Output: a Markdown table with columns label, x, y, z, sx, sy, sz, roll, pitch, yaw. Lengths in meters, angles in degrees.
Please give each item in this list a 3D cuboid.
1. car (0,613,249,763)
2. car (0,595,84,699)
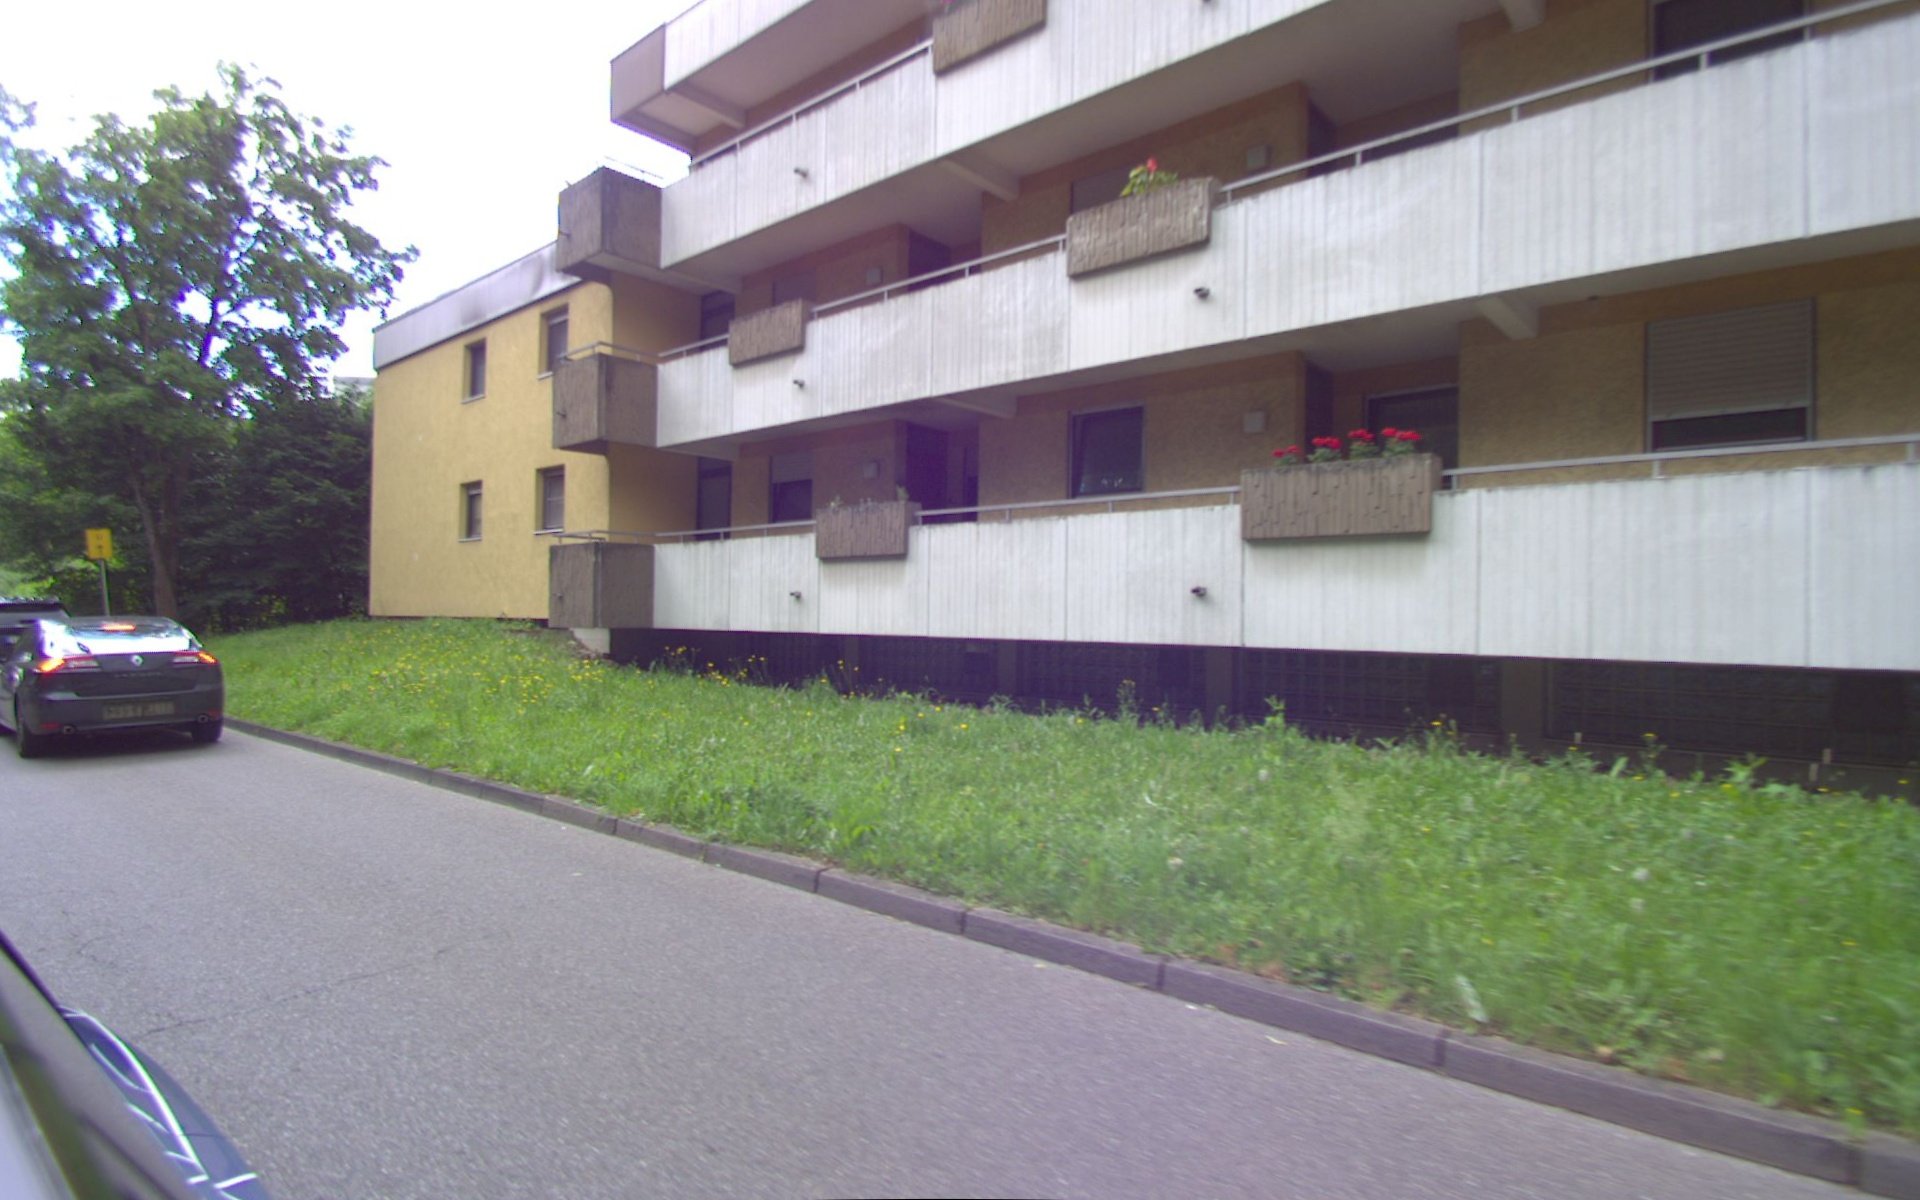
| label | x | y | z | sx | sy | sz | roll | pitch | yaw |
| --- | --- | --- | --- | --- | --- | --- | --- | --- | --- |
| car | -10.046 | 0.864 | 11.776 | 4.421 | 1.422 | 1.893 | -1 | -1 | 41 |
| car | -17.765 | 0.807 | 18.574 | 5.056 | 1.730 | 1.893 | -1 | -1 | 42 |
